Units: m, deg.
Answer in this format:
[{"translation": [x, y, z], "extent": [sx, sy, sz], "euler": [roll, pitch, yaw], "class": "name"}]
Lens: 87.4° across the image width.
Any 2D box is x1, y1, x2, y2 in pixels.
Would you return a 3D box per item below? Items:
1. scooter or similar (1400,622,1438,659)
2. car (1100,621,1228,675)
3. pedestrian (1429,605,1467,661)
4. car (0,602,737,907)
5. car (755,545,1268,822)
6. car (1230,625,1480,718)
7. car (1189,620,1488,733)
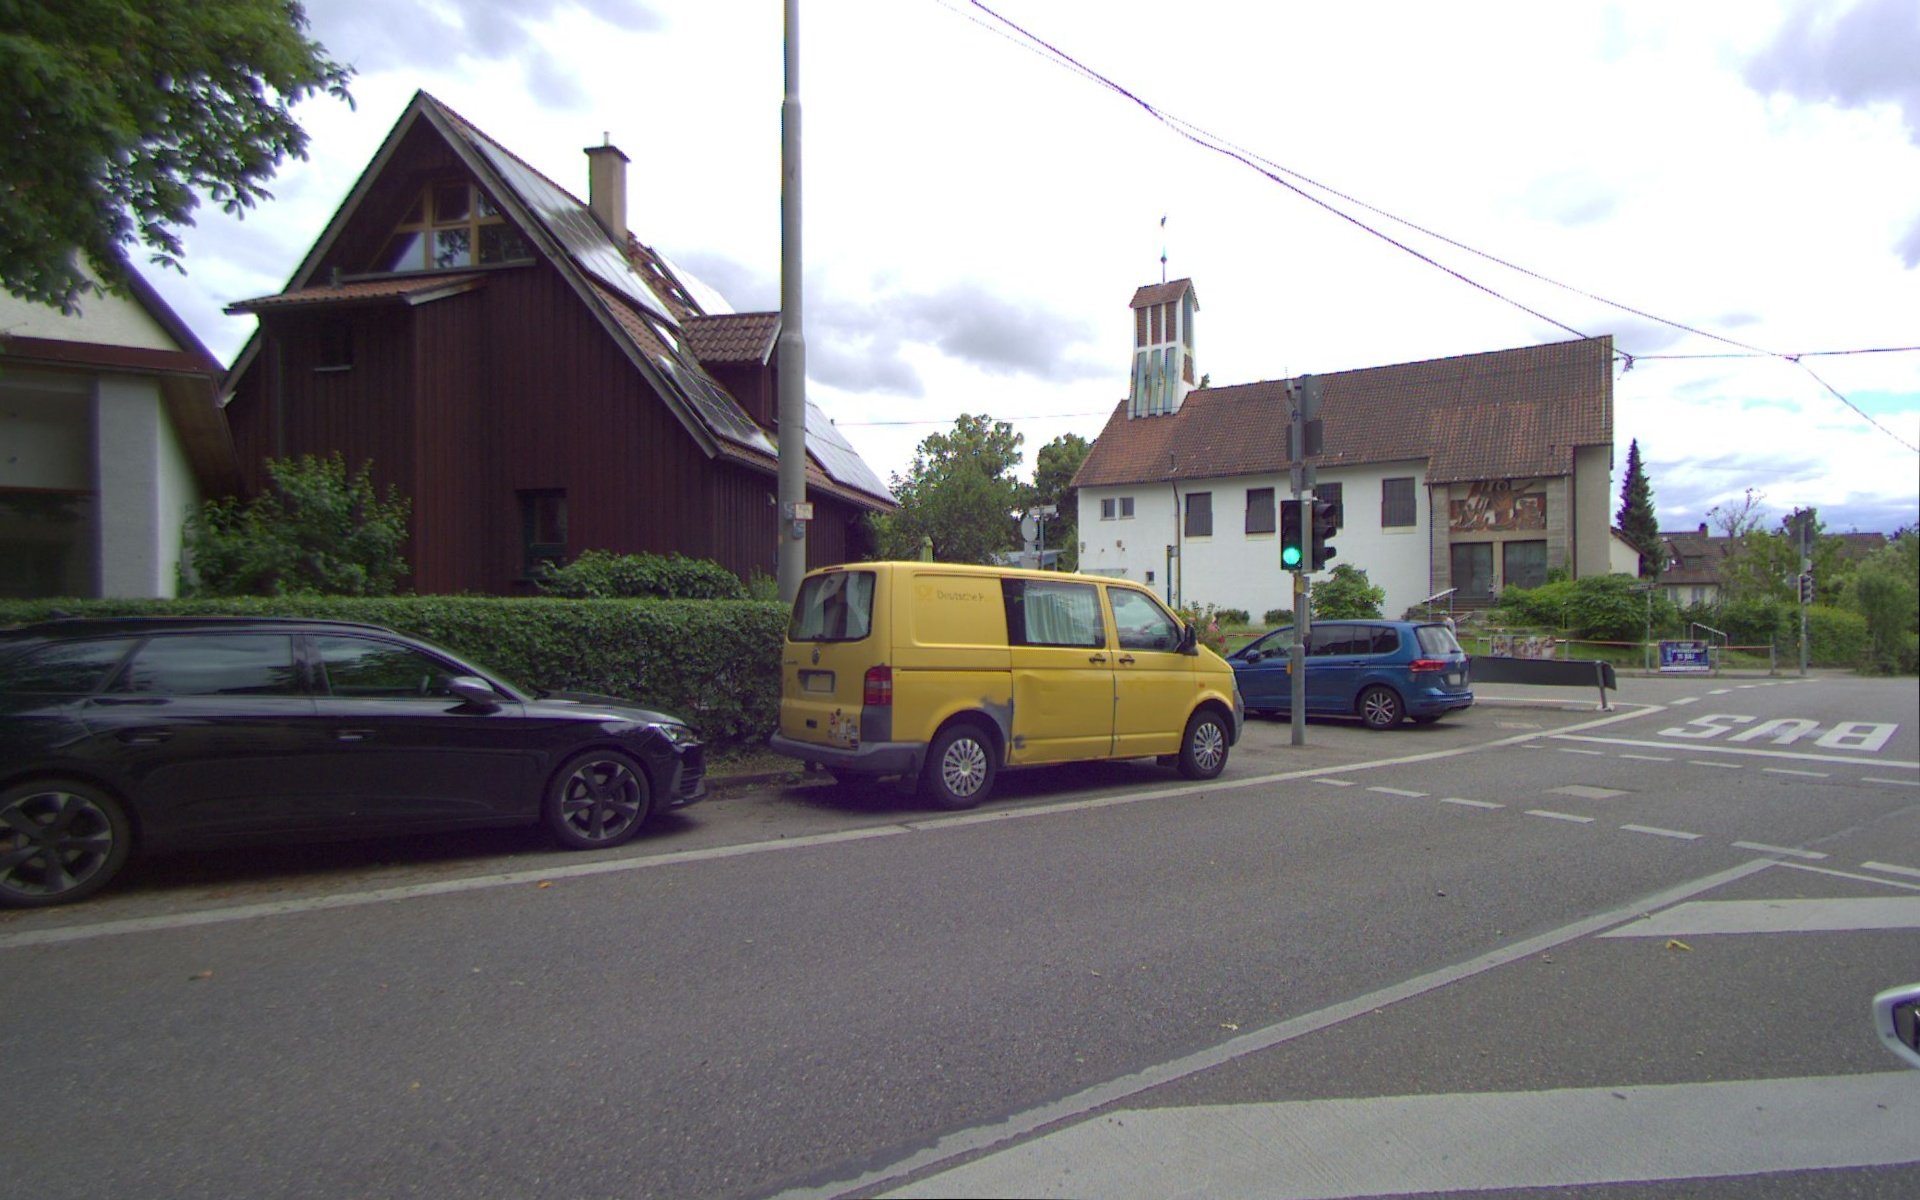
[{"translation": [14.186, 1.252, 31.065], "extent": [0.872, 1.109, 0.612], "euler": [2, -1, 4], "class": "scooter or similar"}, {"translation": [6.027, 1.392, 29.707], "extent": [3.610, 1.509, 1.776], "euler": [-1, -1, 13], "class": "car"}, {"translation": [15.061, 1.014, 30.987], "extent": [0.814, 1.674, 0.690], "euler": [2, -1, 5], "class": "pedestrian"}, {"translation": [-3.861, 0.815, 6.361], "extent": [4.463, 1.469, 1.736], "euler": [2, -3, -32], "class": "car"}, {"translation": [0.665, 0.697, 9.515], "extent": [4.755, 2.015, 1.903], "euler": [2, -2, -37], "class": "car"}, {"translation": [7.108, 1.215, 18.262], "extent": [3.849, 1.491, 1.836], "euler": [-1, -2, 42], "class": "car"}, {"translation": [5.949, 1.123, 16.142], "extent": [1.832, 1.567, 4.126], "euler": [1, -2, -43], "class": "car"}]
